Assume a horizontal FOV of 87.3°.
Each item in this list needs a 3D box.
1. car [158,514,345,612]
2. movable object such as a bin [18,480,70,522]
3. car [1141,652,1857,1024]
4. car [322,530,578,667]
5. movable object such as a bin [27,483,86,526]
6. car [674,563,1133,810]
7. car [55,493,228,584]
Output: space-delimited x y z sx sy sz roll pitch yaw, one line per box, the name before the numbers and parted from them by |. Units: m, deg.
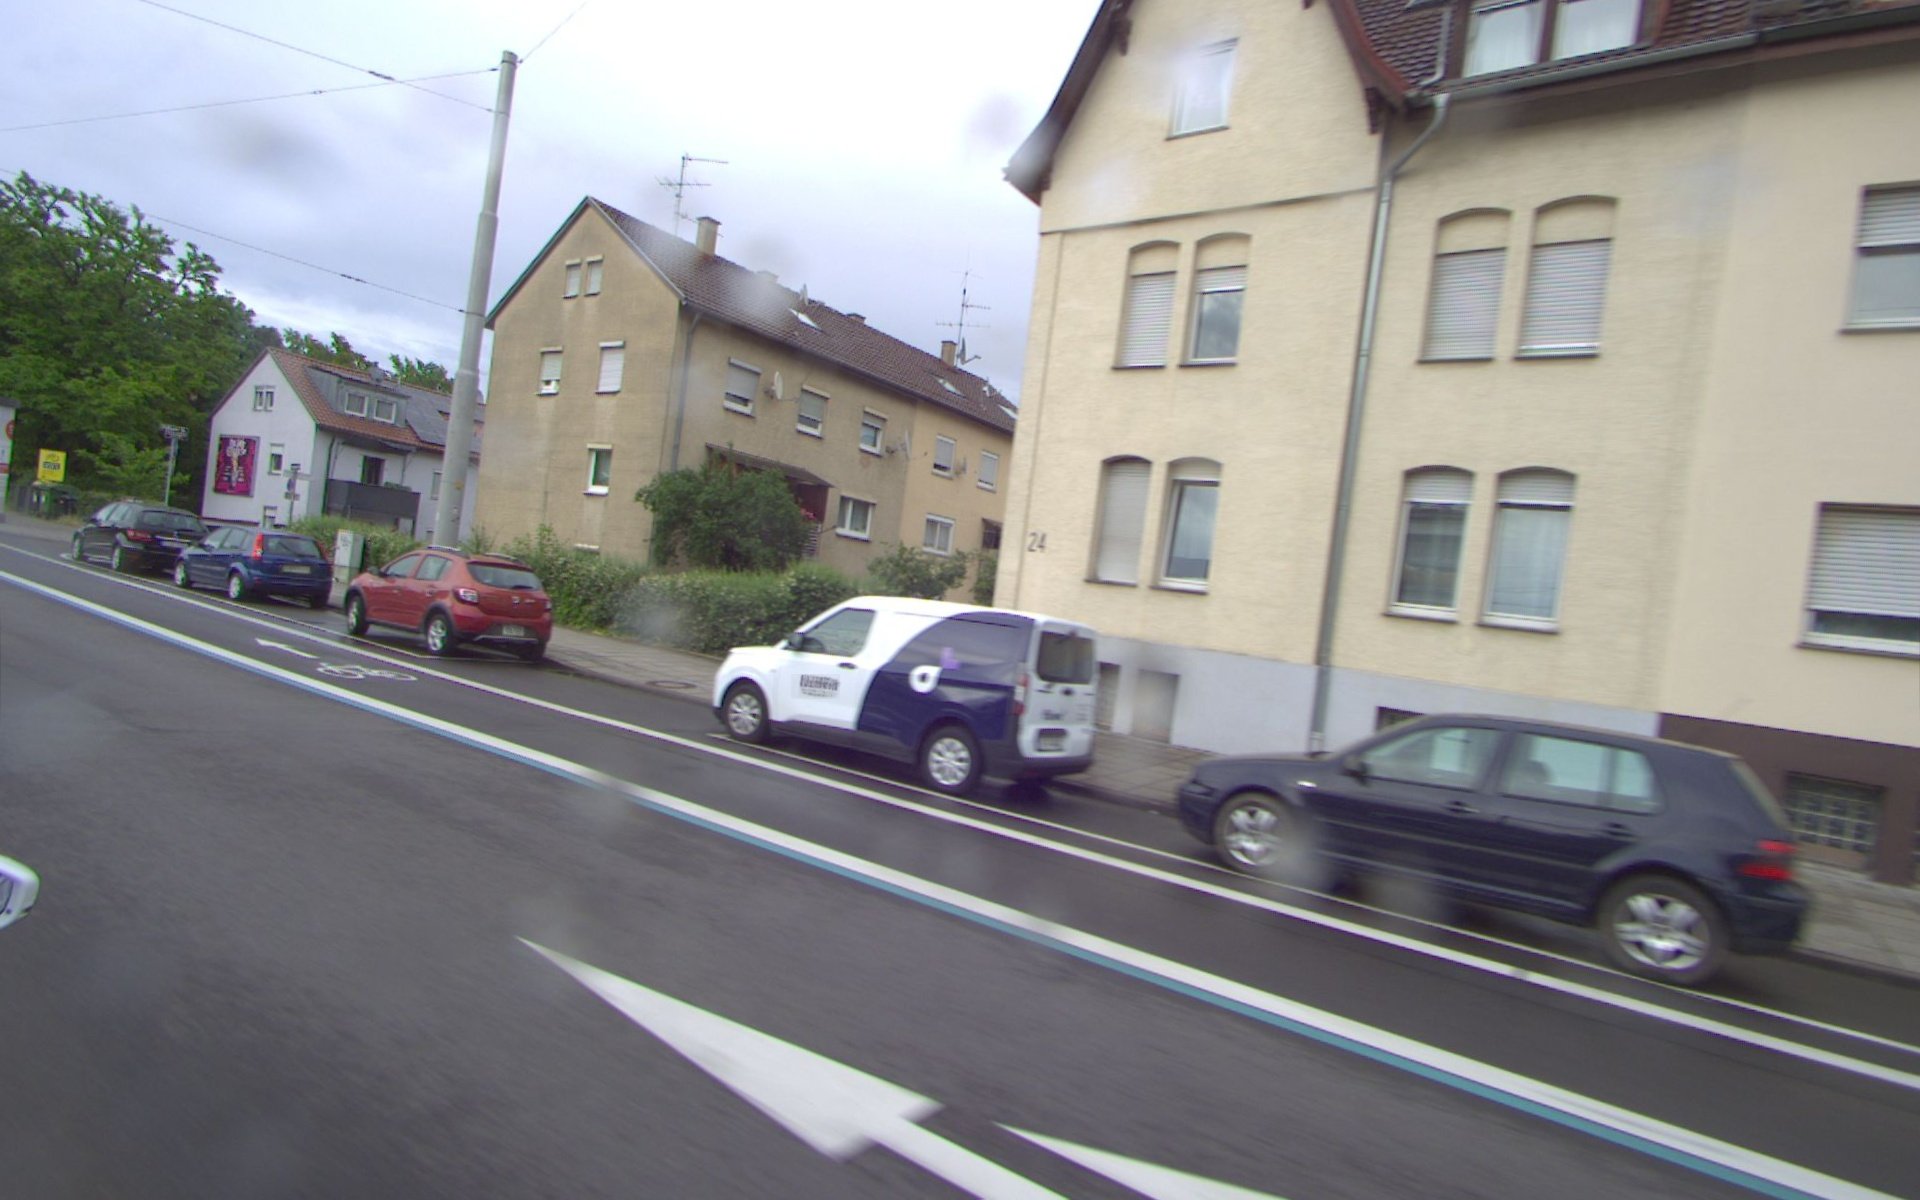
car | -14.549 -0.777 20.621 3.864 1.460 1.670 7 -1 33
movable object such as a bin | -37.213 -4.015 40.876 1.116 1.434 1.186 6 -2 31
car | 3.633 1.451 7.374 4.072 1.529 1.688 7 -2 36
car | -8.339 -0.053 16.359 4.033 1.647 1.839 7 -2 34
movable object such as a bin | -35.982 -3.804 40.085 1.278 1.434 1.314 6 -2 31
car | -0.694 0.800 10.688 4.447 1.777 1.850 7 -1 33
car | -19.474 -1.489 23.886 4.367 1.551 1.840 8 -1 34
